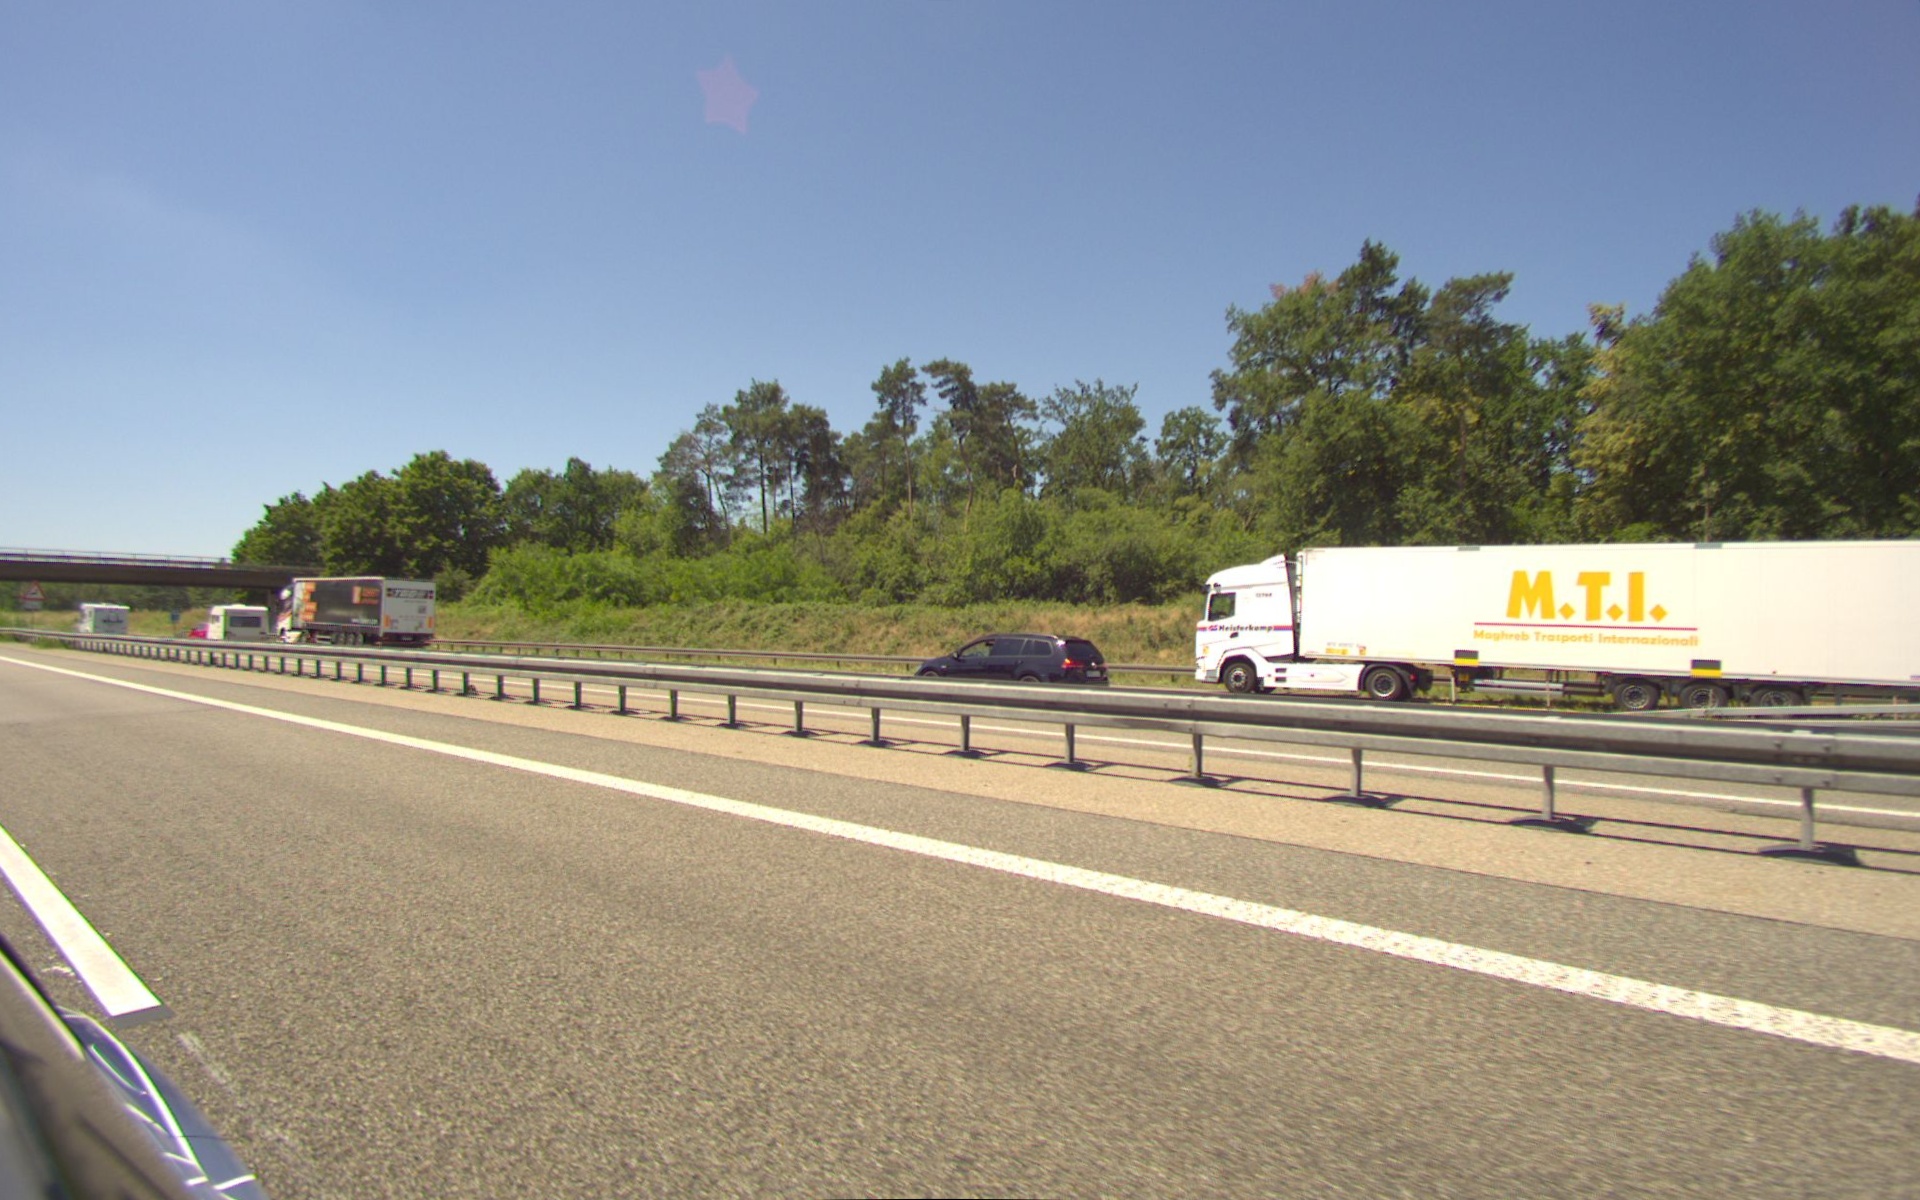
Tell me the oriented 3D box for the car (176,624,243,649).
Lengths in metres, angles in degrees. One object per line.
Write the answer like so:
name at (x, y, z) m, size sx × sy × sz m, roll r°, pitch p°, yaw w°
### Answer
car at (-45.542, 2.227, 61.375) m, size 4.689 × 1.390 × 2.205 m, roll -1°, pitch -4°, yaw 41°

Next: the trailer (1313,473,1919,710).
trailer at (16.167, 0.015, 25.110) m, size 13.734 × 4.865 × 3.044 m, roll -1°, pitch -5°, yaw 36°

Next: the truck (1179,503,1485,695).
truck at (10.514, 0.139, 29.036) m, size 7.698 × 4.865 × 3.044 m, roll -1°, pitch -5°, yaw 35°

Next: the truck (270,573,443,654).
truck at (-34.416, 0.799, 57.088) m, size 16.858 × 4.026 × 3.291 m, roll -1°, pitch -2°, yaw 41°

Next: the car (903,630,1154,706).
car at (1.333, 1.373, 21.107) m, size 4.887 × 1.390 × 2.205 m, roll -1°, pitch -4°, yaw 41°

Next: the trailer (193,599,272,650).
trailer at (-41.877, 1.455, 58.196) m, size 5.071 × 2.769 × 2.451 m, roll -1°, pitch -4°, yaw 41°

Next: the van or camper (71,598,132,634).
van or camper at (-71.173, 1.380, 83.816) m, size 8.555 × 2.832 × 2.476 m, roll -1°, pitch -2°, yaw 40°
